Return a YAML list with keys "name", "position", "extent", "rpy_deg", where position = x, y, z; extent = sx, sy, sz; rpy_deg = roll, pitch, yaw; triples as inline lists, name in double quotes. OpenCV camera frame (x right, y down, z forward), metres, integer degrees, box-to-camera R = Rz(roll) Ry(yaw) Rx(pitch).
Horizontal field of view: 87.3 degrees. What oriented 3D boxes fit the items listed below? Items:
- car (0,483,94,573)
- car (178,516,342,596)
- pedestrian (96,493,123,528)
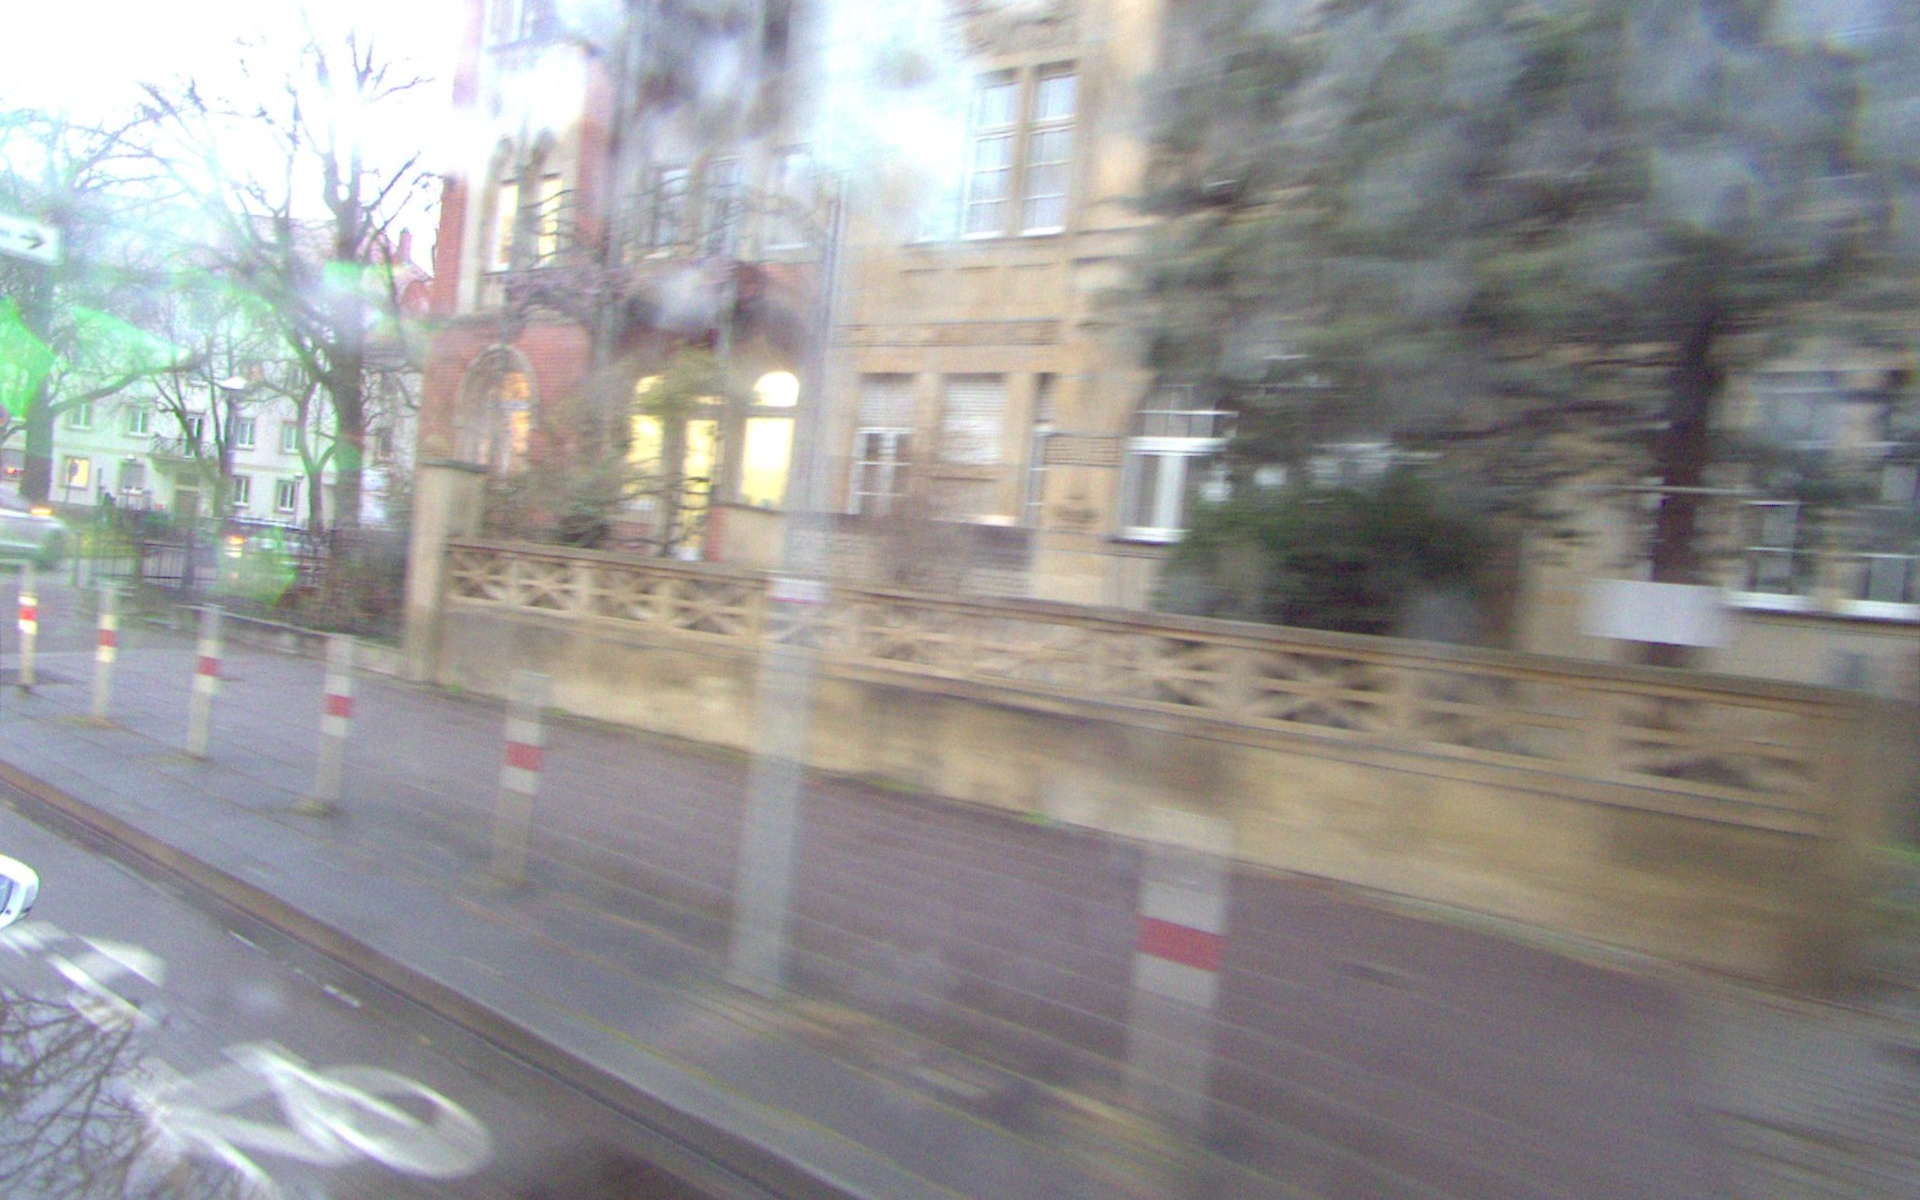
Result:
- name: "car"
  position: [-18.683, -1.503, 18.681]
  extent: [1.871, 1.526, 4.743]
  rpy_deg: [8, -3, -15]
- name: "car"
  position: [-20.580, -1.223, 29.843]
  extent: [1.775, 1.747, 4.343]
  rpy_deg: [8, -3, -2]
- name: "pedestrian"
  position: [-44.309, -4.661, 52.413]
  extent: [0.701, 1.682, 0.687]
  rpy_deg: [6, 1, 3]
